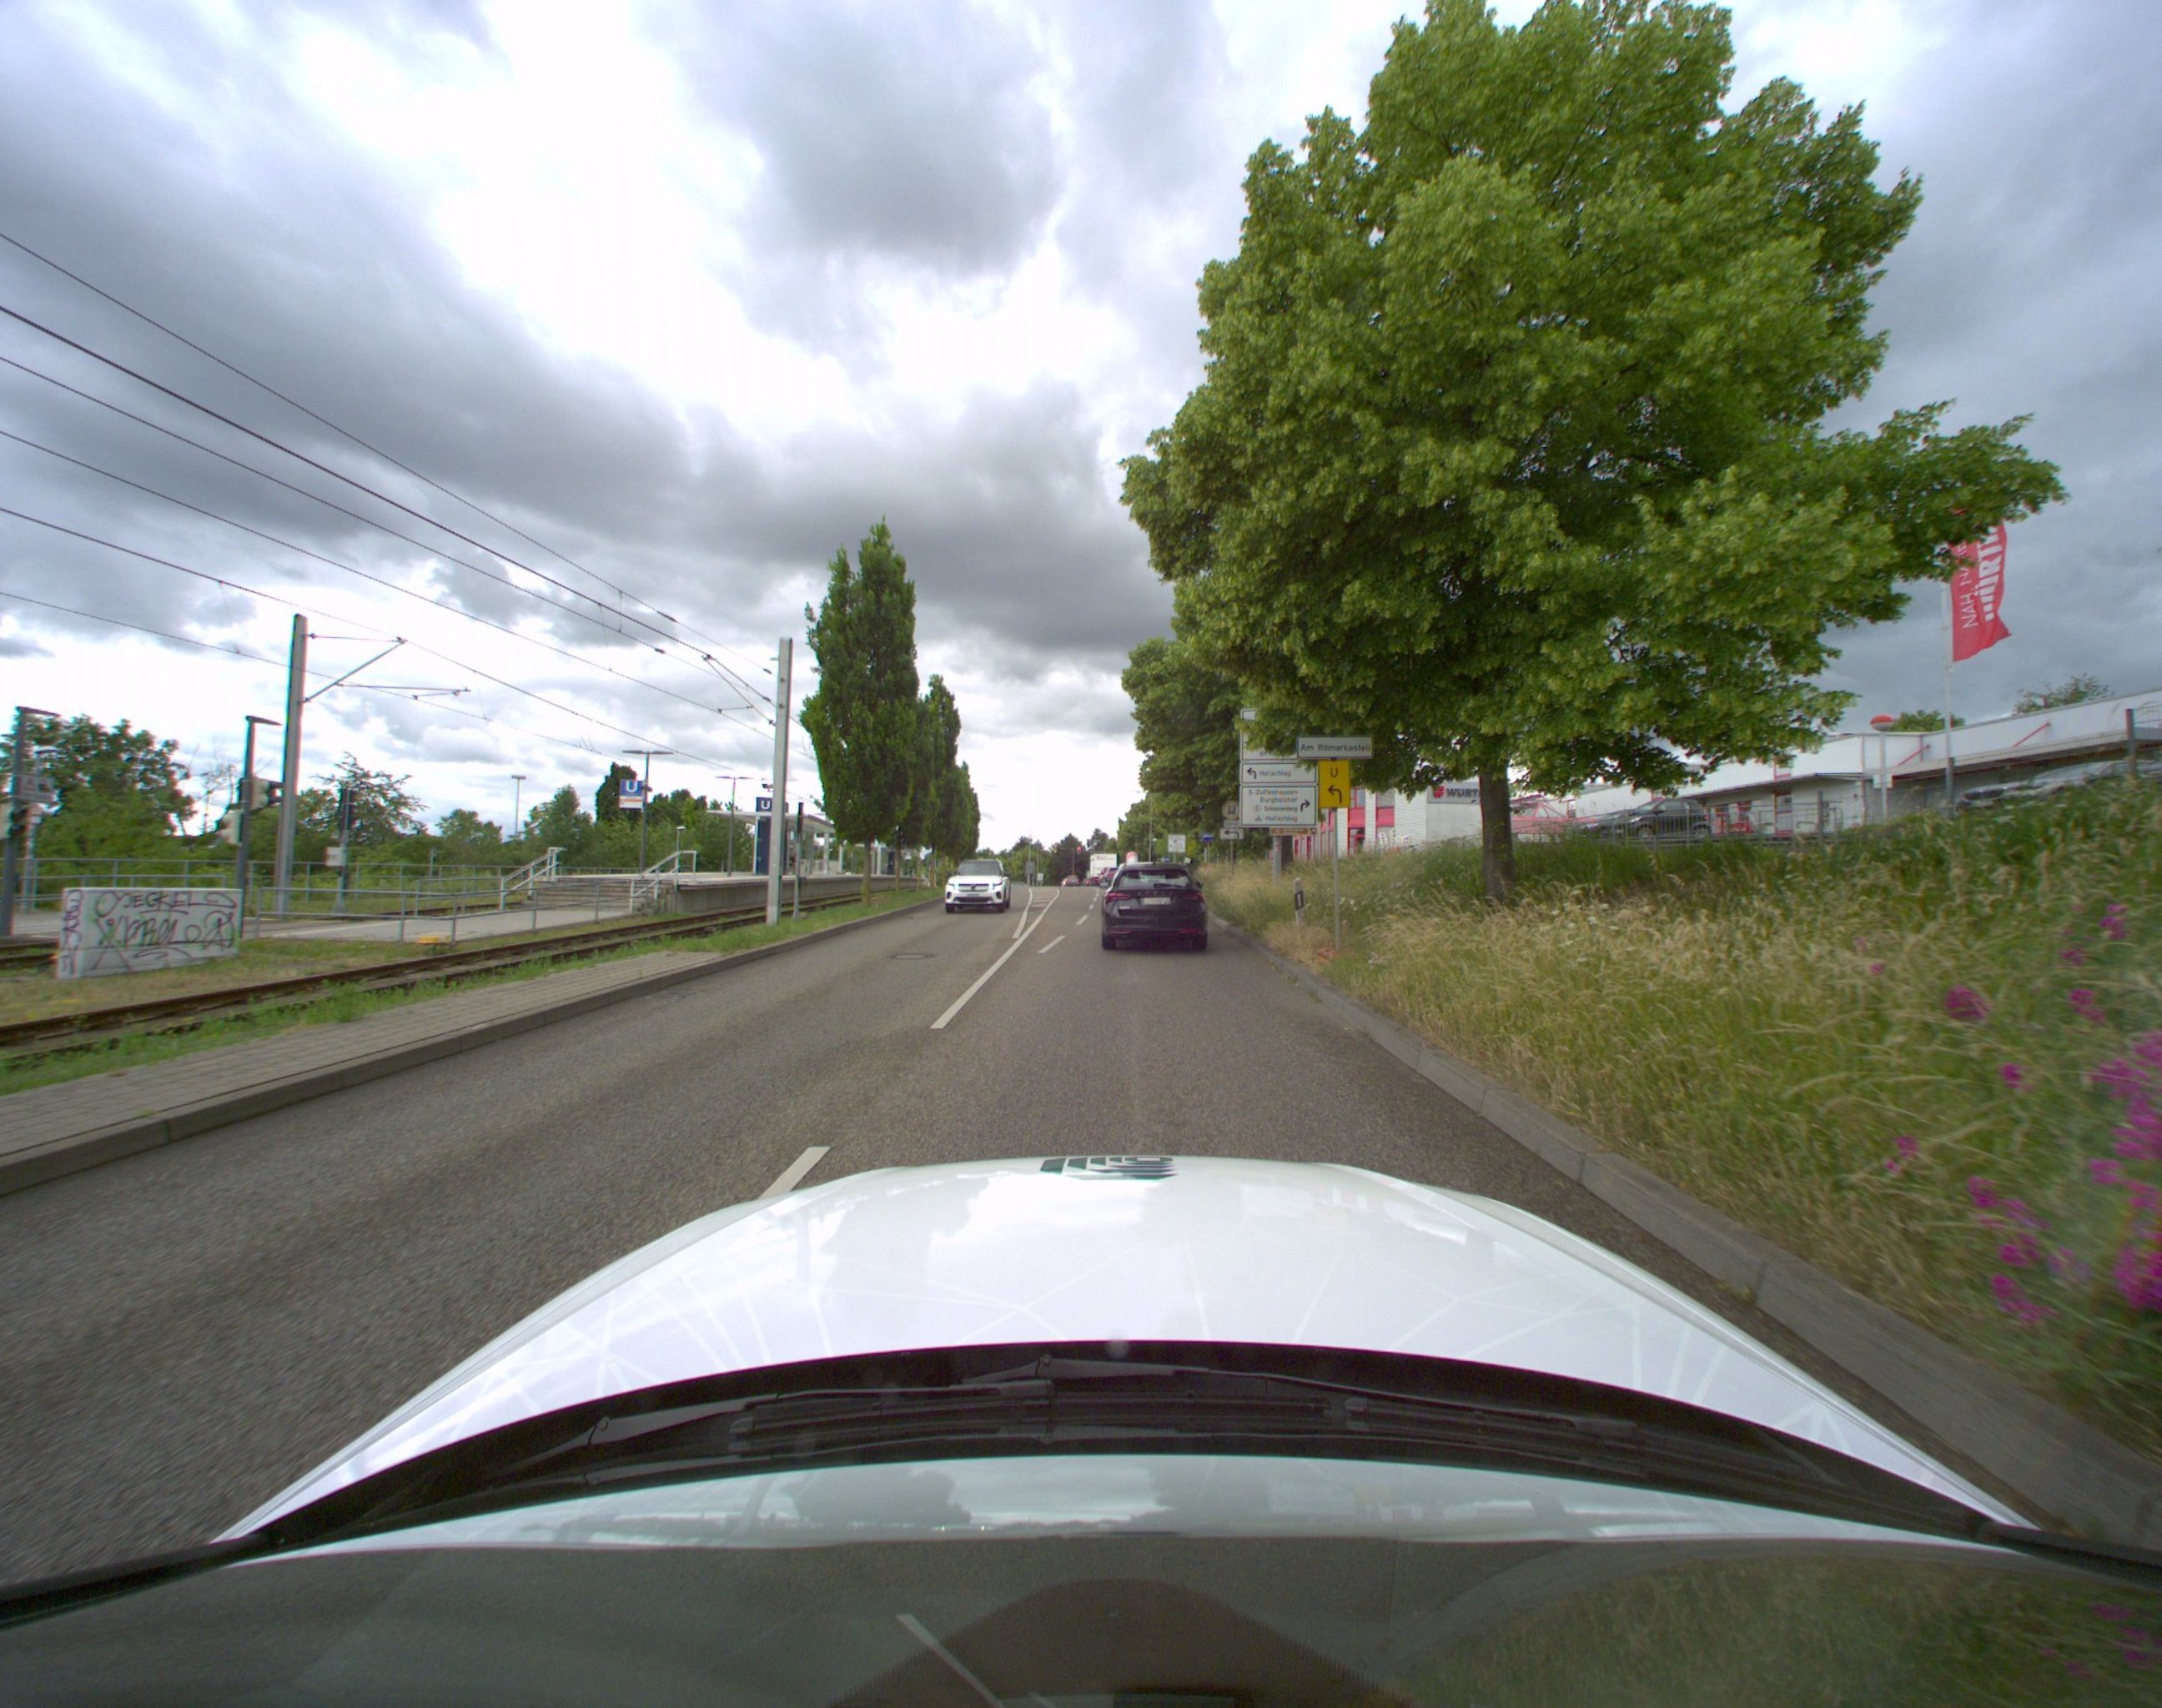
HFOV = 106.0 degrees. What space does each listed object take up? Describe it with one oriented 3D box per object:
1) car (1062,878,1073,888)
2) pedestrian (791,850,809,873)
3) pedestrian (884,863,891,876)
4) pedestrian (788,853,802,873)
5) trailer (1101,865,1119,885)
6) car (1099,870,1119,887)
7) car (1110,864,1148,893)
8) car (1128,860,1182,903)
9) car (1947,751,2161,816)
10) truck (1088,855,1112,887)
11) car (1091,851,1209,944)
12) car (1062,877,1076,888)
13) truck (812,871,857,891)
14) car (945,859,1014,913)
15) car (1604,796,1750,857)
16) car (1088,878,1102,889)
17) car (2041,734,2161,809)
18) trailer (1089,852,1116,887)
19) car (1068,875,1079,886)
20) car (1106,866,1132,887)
[{"bbox_3d":[-2.089,4.362,122.369,1.532,1.505,2.665,0,-4,-4],"label":"car"},{"bbox_3d":[-15.179,0.417,44.001,0.760,1.199,0.664,0,-2,-5],"label":"pedestrian"},{"bbox_3d":[-18.996,1.492,79.929,0.610,1.269,0.658,0,-1,-9],"label":"pedestrian"},{"bbox_3d":[-15.741,0.500,44.820,0.606,1.079,0.469,0,-1,-5],"label":"pedestrian"},{"bbox_3d":[2.413,1.779,68.267,1.404,1.594,3.302,0,-2,0],"label":"trailer"},{"bbox_3d":[2.439,2.149,72.167,1.666,1.448,4.487,0,-2,0],"label":"car"},{"bbox_3d":[2.467,1.248,42.638,1.713,1.457,3.695,0,-1,-1],"label":"car"},{"bbox_3d":[2.667,0.962,30.046,1.618,1.457,3.687,0,0,-1],"label":"car"},{"bbox_3d":[23.567,-1.658,19.454,3.737,1.364,1.758,1,0,4],"label":"car"},{"bbox_3d":[2.317,2.088,99.218,2.565,3.707,4.100,0,-4,-3],"label":"truck"},{"bbox_3d":[1.302,0.685,14.847,1.826,1.432,4.285,0,0,6],"label":"car"},{"bbox_3d":[-1.768,4.136,117.047,1.718,1.422,4.349,0,-3,-4],"label":"car"},{"bbox_3d":[-43.777,4.781,144.650,7.216,3.599,2.691,0,-1,0],"label":"truck"},{"bbox_3d":[-3.050,0.924,25.070,1.711,1.521,3.742,-1,0,-1],"label":"car"},{"bbox_3d":[20.248,-0.929,27.779,3.737,1.959,1.645,1,0,4],"label":"car"},{"bbox_3d":[1.837,3.979,109.877,1.806,1.354,4.116,0,-1,-1],"label":"car"},{"bbox_3d":[23.368,-1.707,17.215,3.908,1.368,1.758,1,-1,4],"label":"car"},{"bbox_3d":[2.483,1.854,95.354,2.560,3.707,7.753,0,-4,-3],"label":"trailer"},{"bbox_3d":[-1.013,3.501,107.952,1.520,1.354,3.489,0,0,-1],"label":"car"},{"bbox_3d":[2.850,1.707,61.469,1.693,1.486,3.997,0,0,-1],"label":"car"}]
